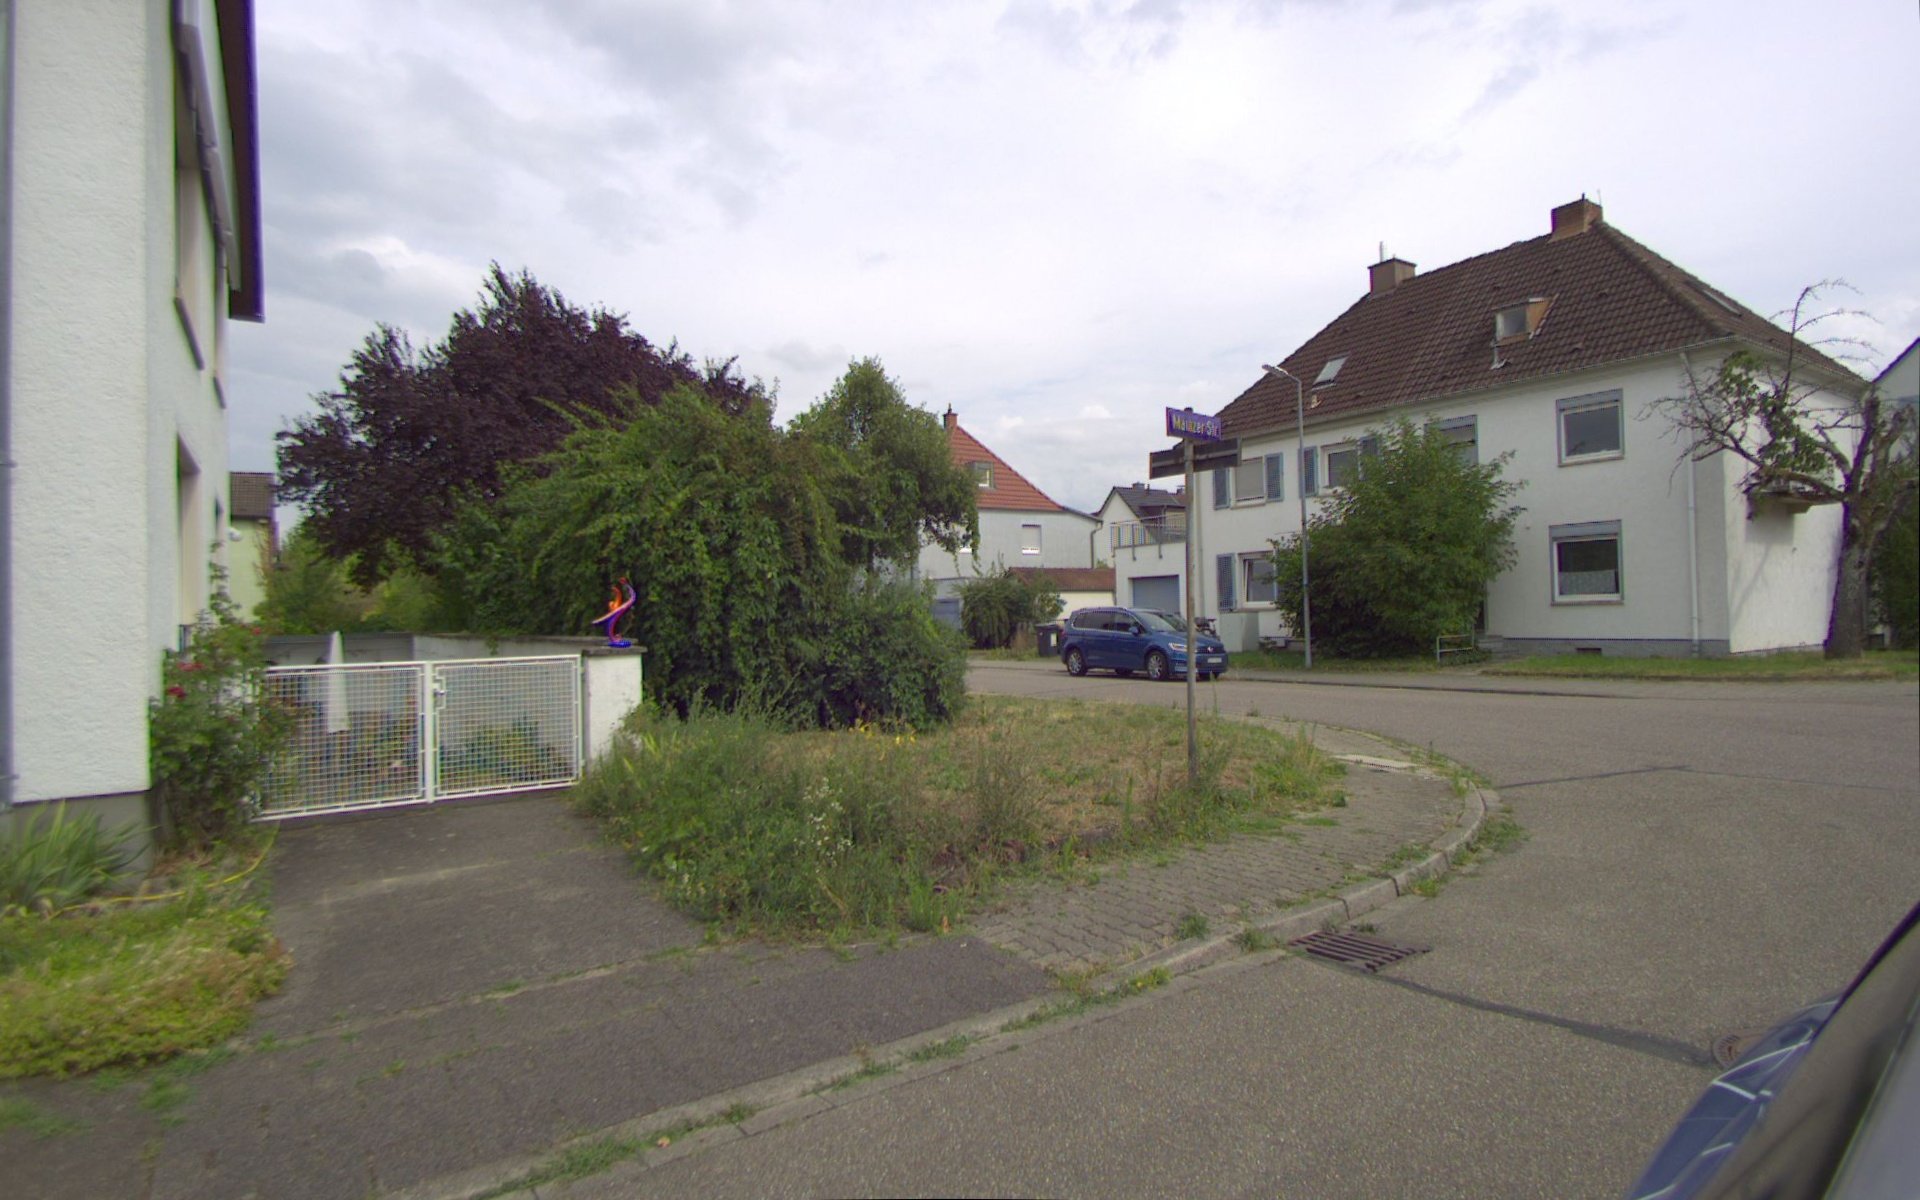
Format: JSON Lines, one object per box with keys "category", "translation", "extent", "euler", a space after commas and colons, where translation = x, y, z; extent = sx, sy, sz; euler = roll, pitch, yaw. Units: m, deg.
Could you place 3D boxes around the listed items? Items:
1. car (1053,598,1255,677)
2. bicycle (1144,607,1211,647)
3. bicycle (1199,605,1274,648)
{"category": "car", "translation": [4.331, 0.822, 23.272], "extent": [1.961, 1.590, 4.547], "euler": [-1, -1, -32]}
{"category": "bicycle", "translation": [6.492, 0.801, 30.283], "extent": [0.561, 1.149, 2.171], "euler": [-1, -1, -33]}
{"category": "bicycle", "translation": [7.735, 0.731, 28.383], "extent": [0.561, 1.149, 2.171], "euler": [-1, -1, -33]}
